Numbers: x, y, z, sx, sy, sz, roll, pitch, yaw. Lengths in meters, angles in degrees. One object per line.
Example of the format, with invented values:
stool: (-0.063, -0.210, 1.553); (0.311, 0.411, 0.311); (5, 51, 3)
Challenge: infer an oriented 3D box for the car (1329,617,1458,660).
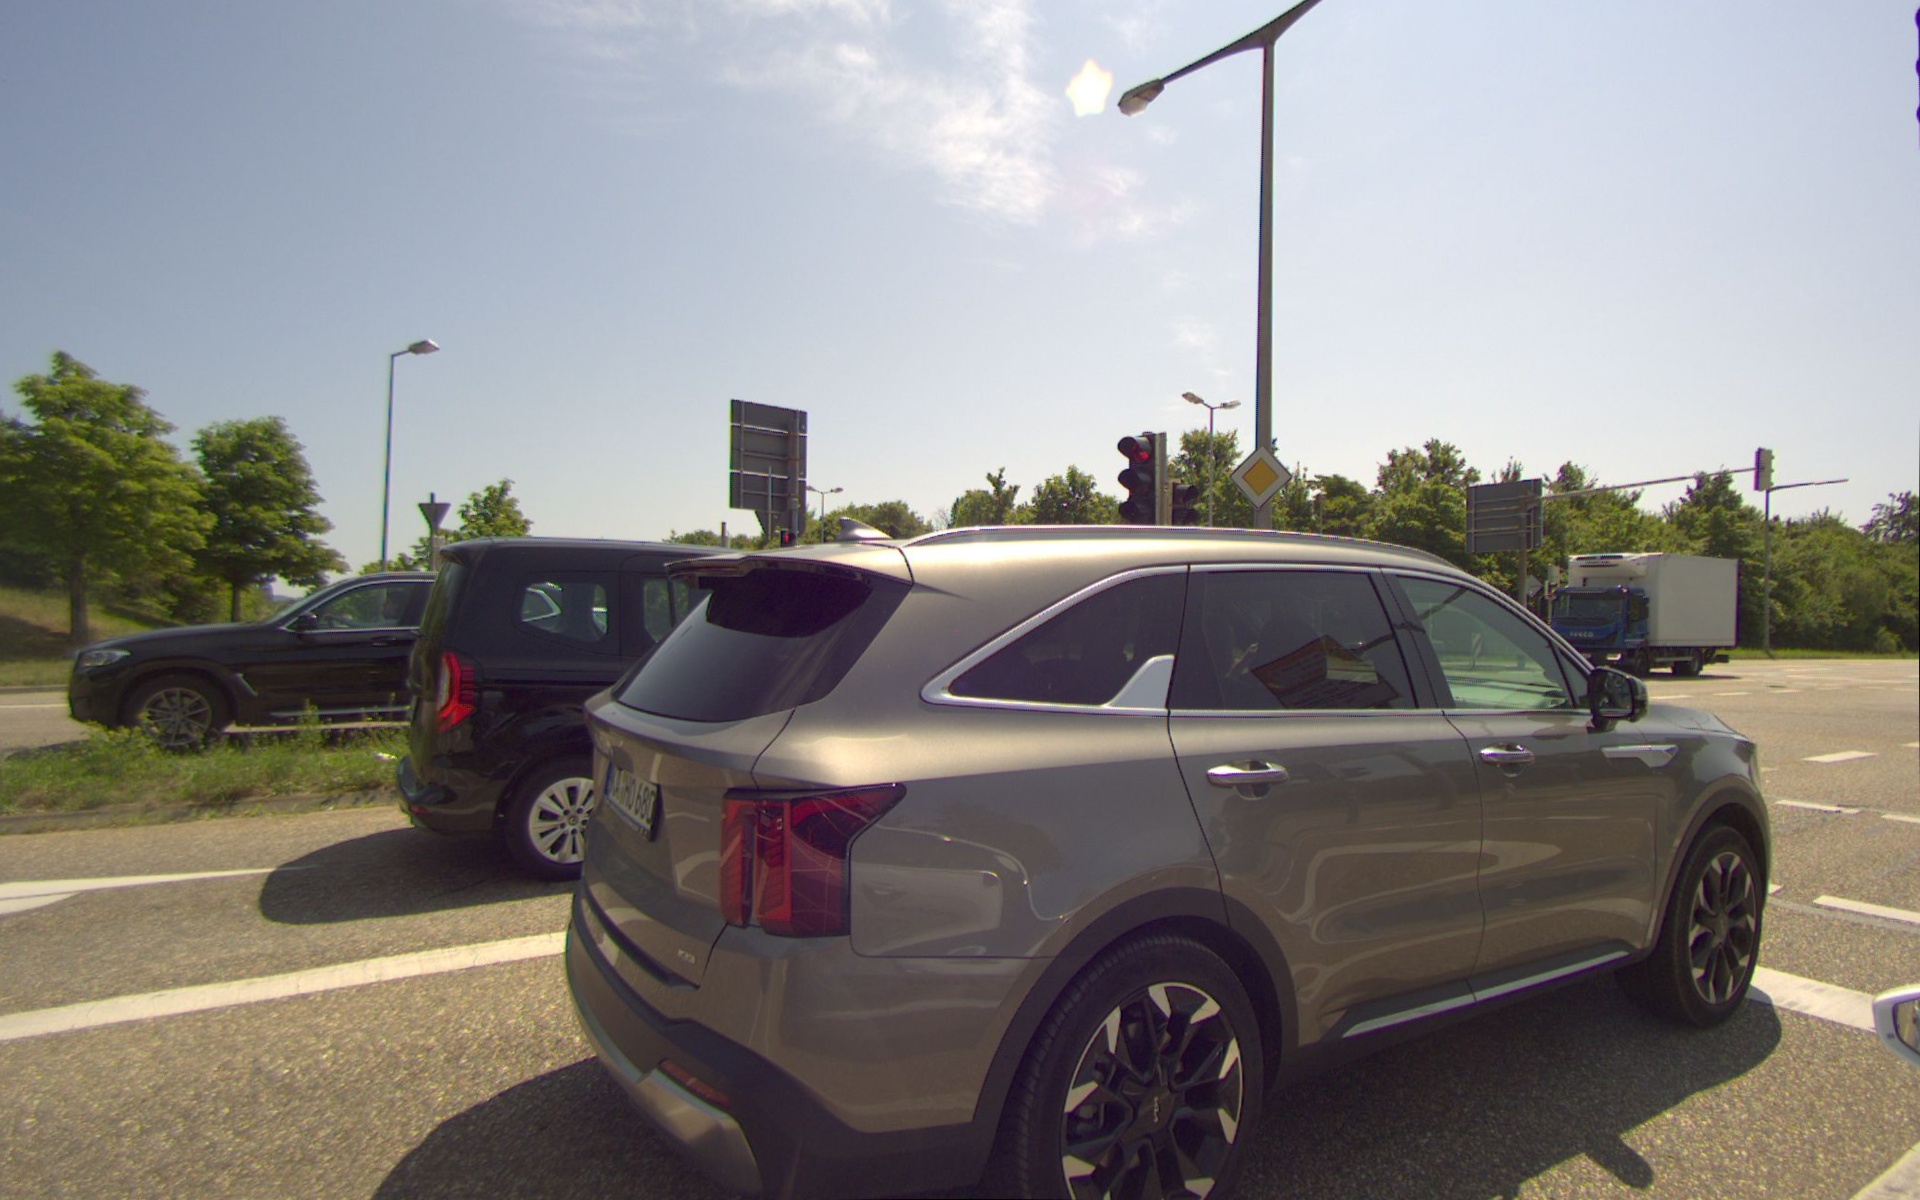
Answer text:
car: (18.799, 1.638, 43.691); (4.827, 1.755, 1.829); (1, -1, 2)

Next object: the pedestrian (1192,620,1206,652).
pedestrian: (12.606, 1.895, 52.935); (0.605, 1.624, 0.798); (0, -1, 23)

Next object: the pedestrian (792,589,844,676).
pedestrian: (-2.898, 0.649, 20.508); (0.720, 1.722, 0.765); (1, -1, -44)

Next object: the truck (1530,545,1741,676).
truck: (20.790, 0.370, 30.776); (7.187, 3.618, 2.673); (1, -1, -32)

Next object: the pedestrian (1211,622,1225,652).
pedestrian: (13.481, 1.921, 52.498); (0.605, 1.523, 0.798); (1, -1, 23)

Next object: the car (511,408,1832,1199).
car: (1.038, 0.613, 3.545); (4.592, 1.684, 1.794); (2, -1, -32)

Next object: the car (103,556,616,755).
car: (-5.882, 0.524, 10.326); (4.175, 1.685, 1.698); (1, -1, -31)

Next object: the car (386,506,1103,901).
car: (-1.252, 0.535, 6.606); (4.276, 1.850, 1.721); (2, -1, -33)
